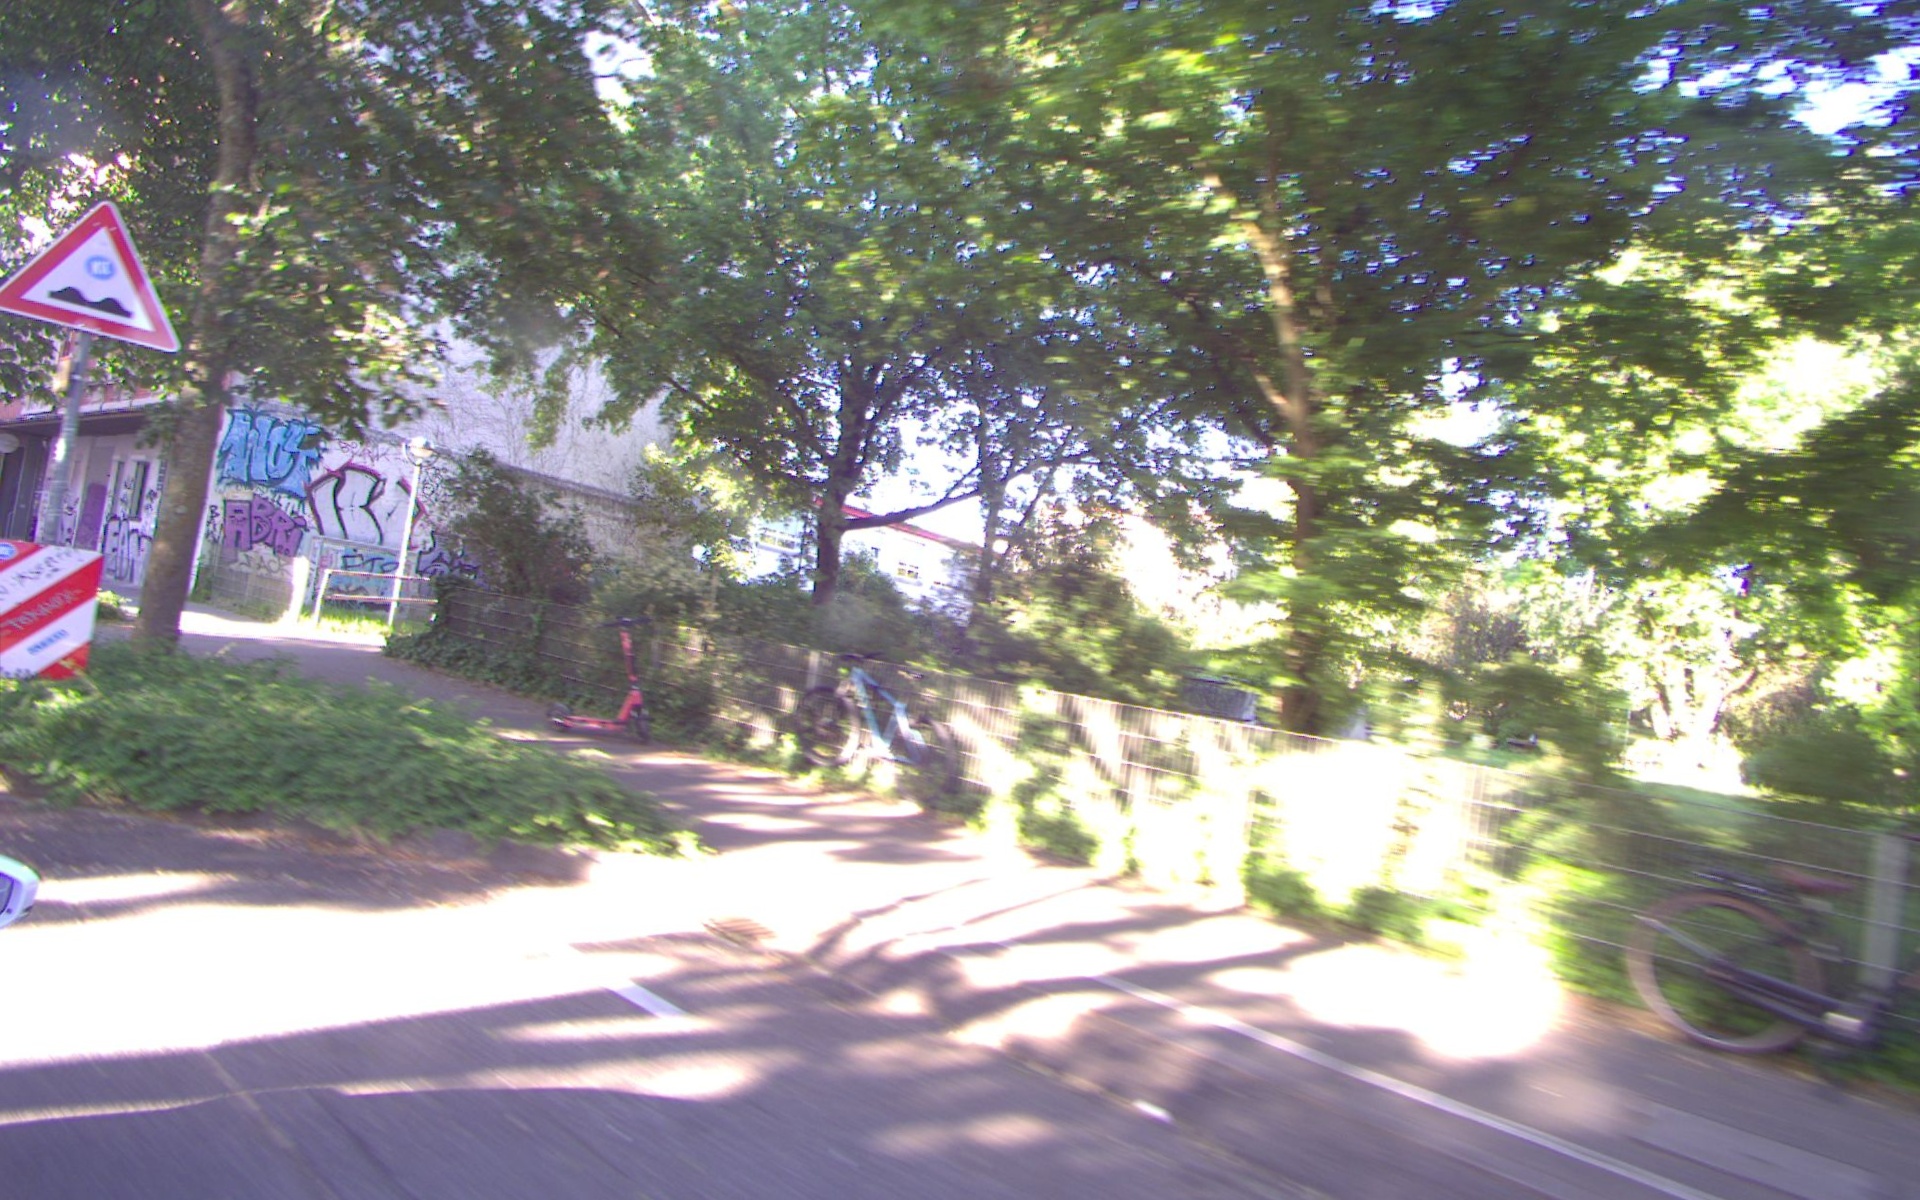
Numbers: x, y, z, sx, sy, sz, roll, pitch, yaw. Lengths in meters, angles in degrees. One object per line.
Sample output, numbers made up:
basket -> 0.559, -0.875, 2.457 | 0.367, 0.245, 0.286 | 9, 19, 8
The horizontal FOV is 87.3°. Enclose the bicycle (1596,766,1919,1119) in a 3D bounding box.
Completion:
bicycle -> 4.122, 1.539, 4.505 | 1.953, 1.214, 0.846 | 7, -2, 40

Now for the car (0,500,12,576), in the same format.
car -> -22.026, -1.547, 21.501 | 4.331, 1.579, 1.723 | 6, -3, 37

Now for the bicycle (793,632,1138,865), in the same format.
bicycle -> -0.046, 1.077, 7.931 | 2.653, 1.282, 0.846 | 7, -2, 40

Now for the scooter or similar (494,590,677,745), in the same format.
scooter or similar -> -3.634, 0.647, 9.815 | 1.445, 1.277, 0.547 | 7, -1, 7

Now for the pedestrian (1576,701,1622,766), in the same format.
pedestrian -> 21.854, 4.561, 34.400 | 0.736, 2.037, 0.911 | 7, -1, -5
